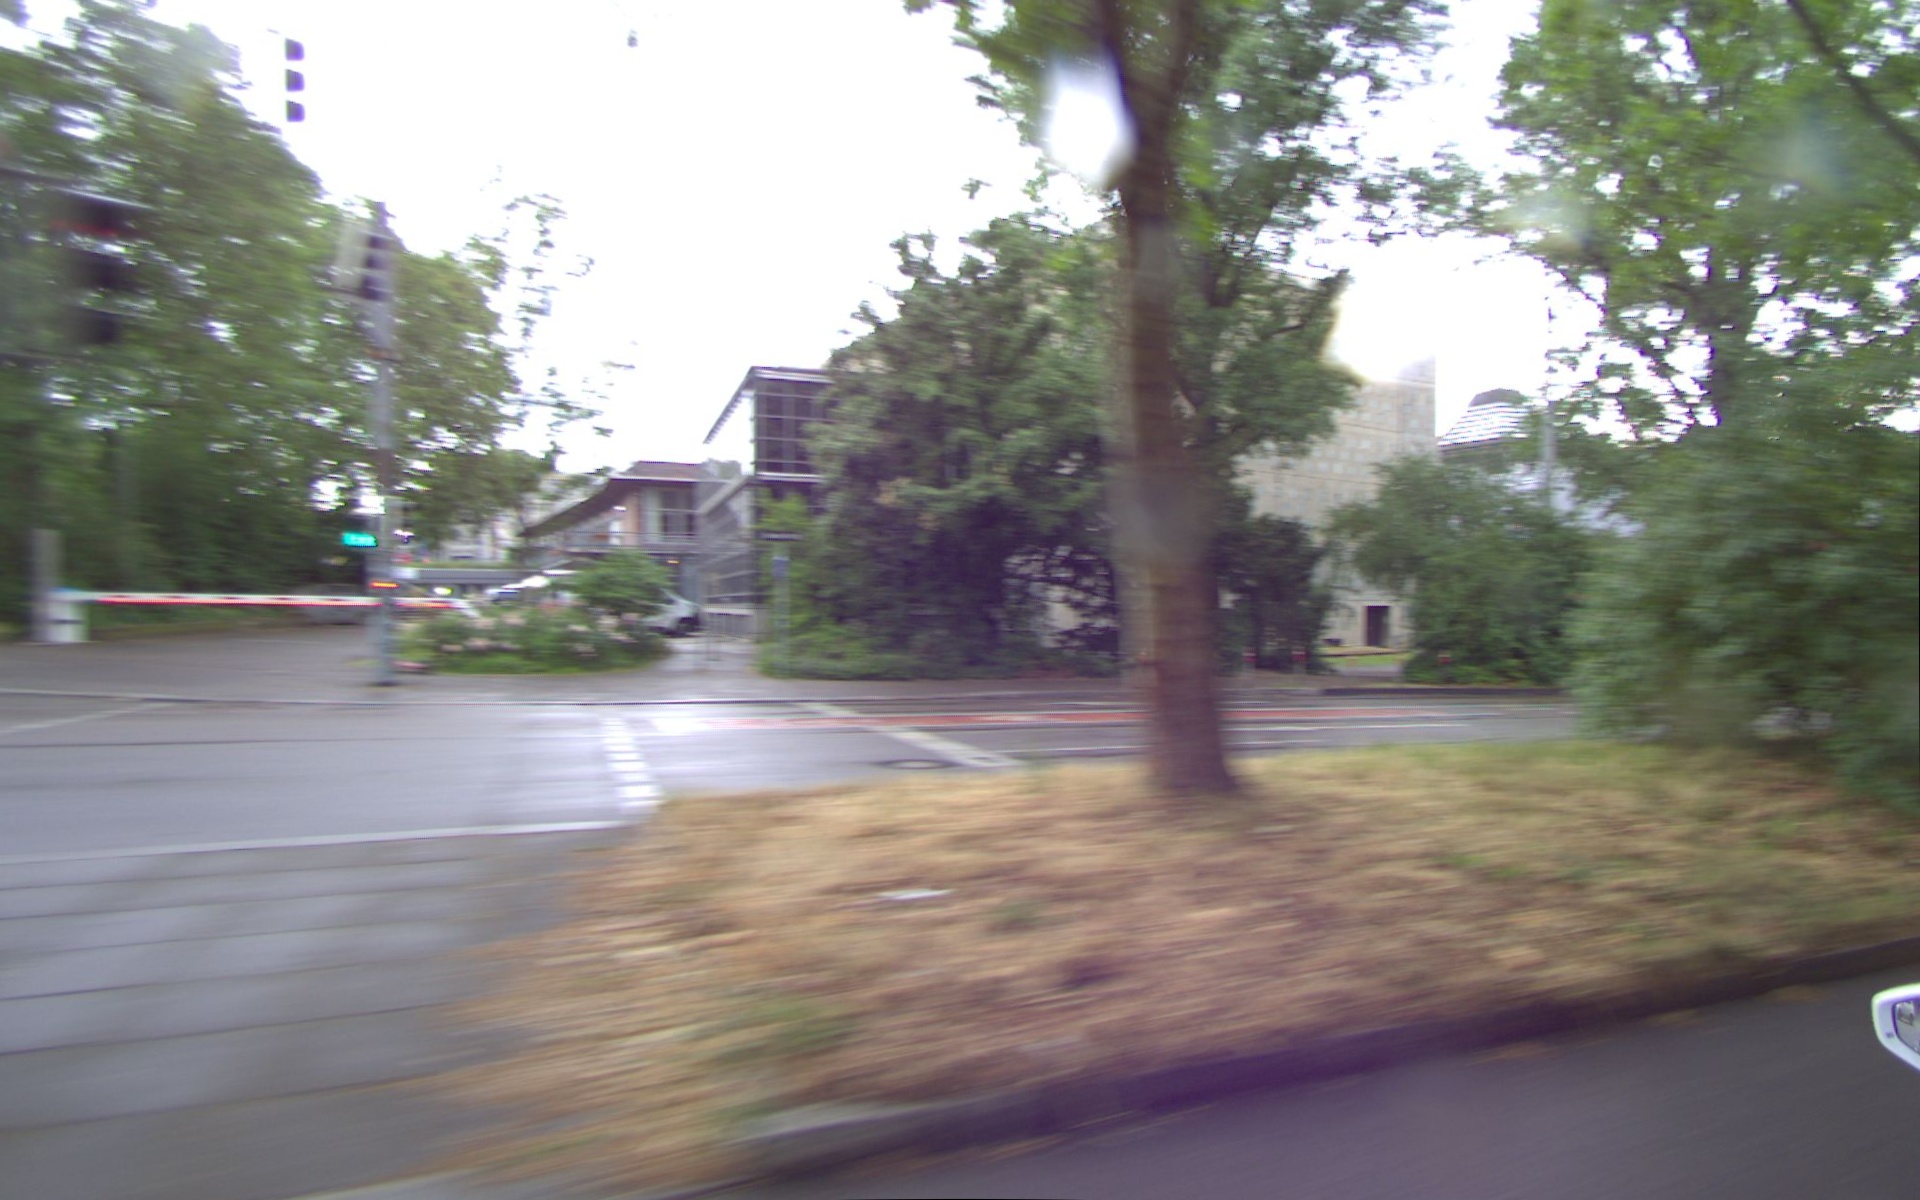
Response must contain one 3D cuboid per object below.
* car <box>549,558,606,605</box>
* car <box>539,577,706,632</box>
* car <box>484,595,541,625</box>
[{"bbox_3d":[-23.492,-1.169,61.991,2.696,2.731,6.898,0,1,-16],"label":"car"},{"bbox_3d":[-11.587,0.137,34.654,5.168,1.754,1.855,0,2,-37],"label":"car"},{"bbox_3d":[-25.742,0.525,57.884,1.990,1.572,4.341,1,1,-10],"label":"car"}]
